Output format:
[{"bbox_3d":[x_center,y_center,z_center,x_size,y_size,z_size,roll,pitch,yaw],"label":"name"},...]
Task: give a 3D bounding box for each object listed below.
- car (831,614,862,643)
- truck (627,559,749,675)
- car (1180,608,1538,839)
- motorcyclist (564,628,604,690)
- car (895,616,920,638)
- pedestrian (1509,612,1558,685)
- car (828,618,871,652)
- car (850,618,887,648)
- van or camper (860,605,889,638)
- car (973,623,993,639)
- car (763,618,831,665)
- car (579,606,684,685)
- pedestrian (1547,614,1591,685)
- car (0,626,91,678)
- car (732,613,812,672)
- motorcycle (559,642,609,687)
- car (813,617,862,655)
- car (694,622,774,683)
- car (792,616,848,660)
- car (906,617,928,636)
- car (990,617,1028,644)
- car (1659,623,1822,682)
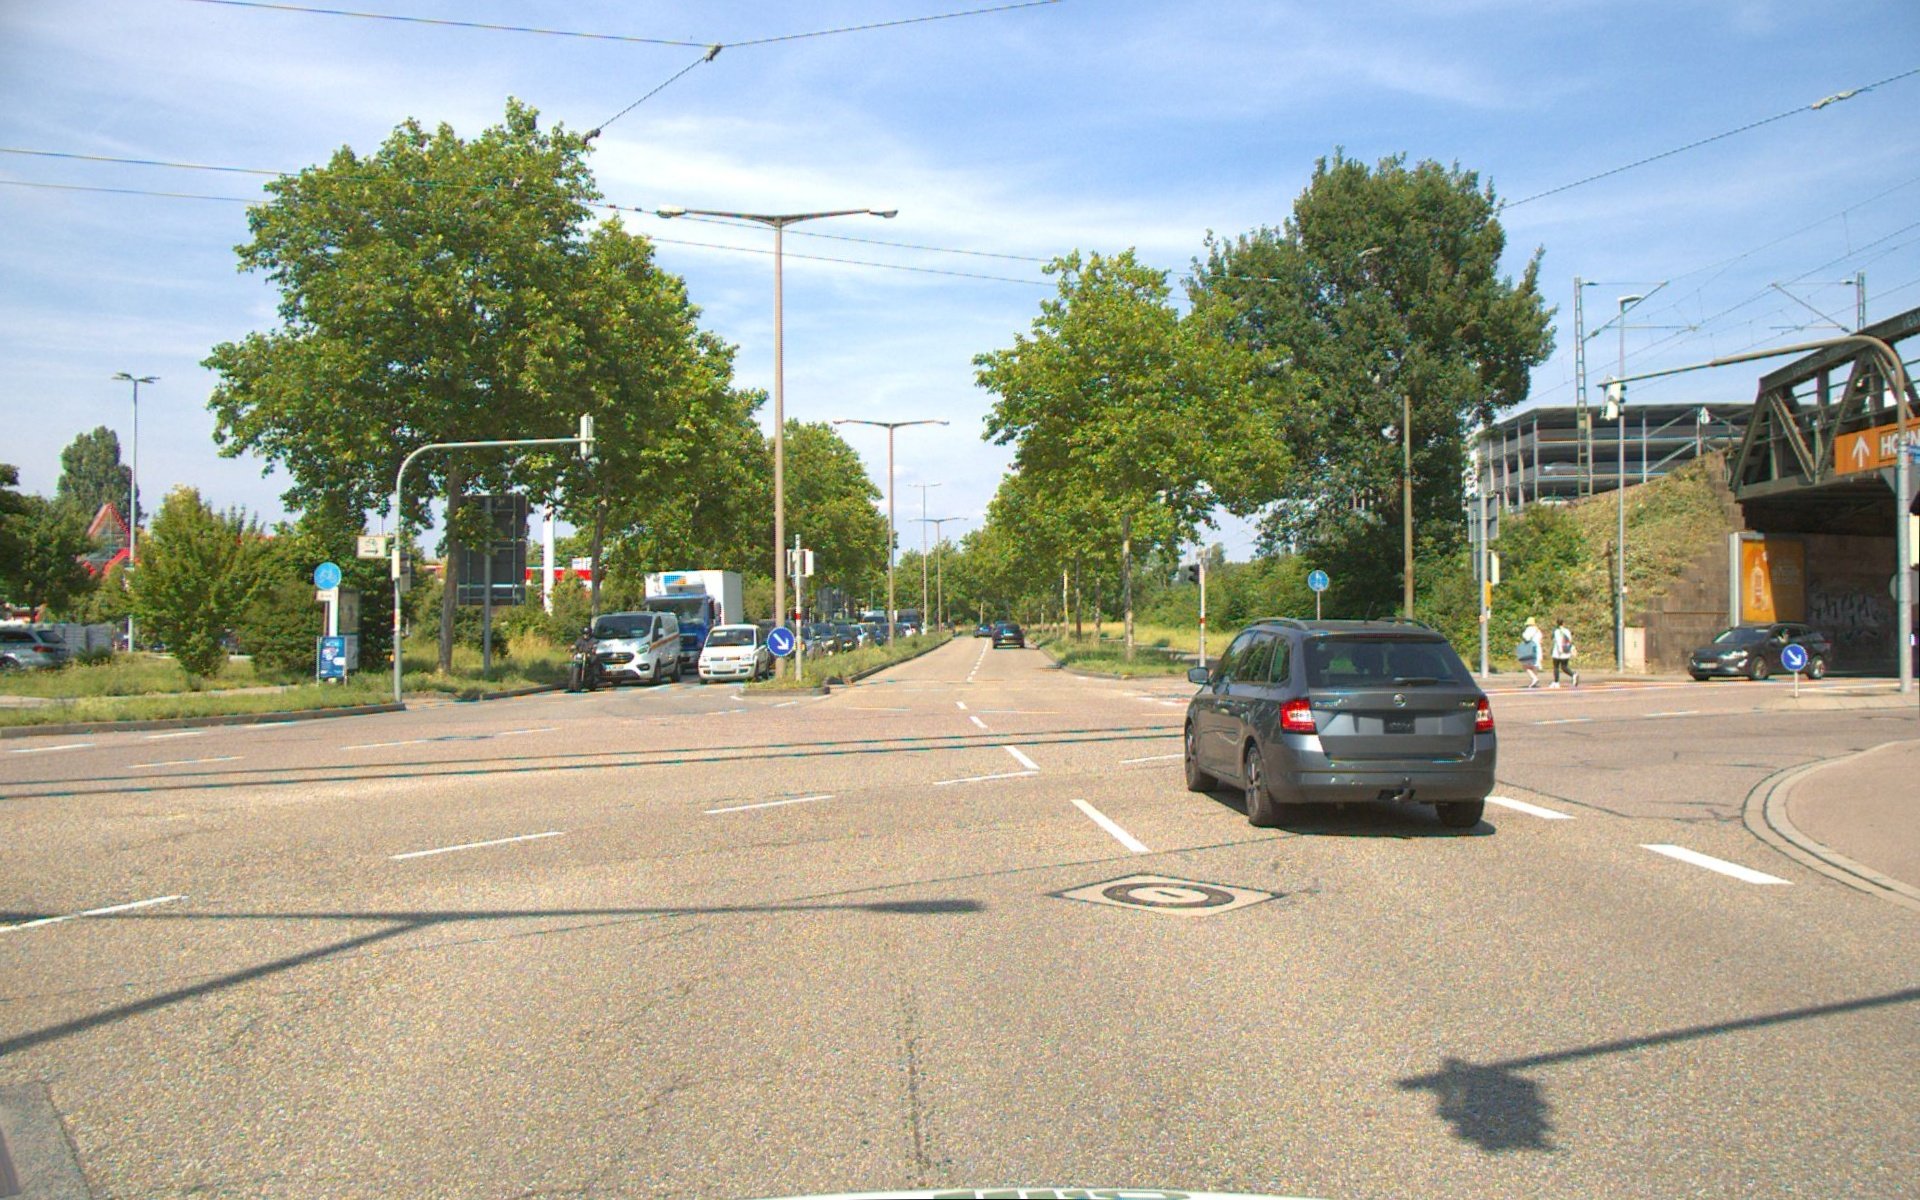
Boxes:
[{"bbox_3d":[-7.611,1.922,110.867,1.654,1.891,4.037,-1,-1,1],"label":"car"},{"bbox_3d":[-8.983,0.537,55.362,2.746,3.532,6.692,-2,0,1],"label":"truck"},{"bbox_3d":[2.870,0.816,12.767,1.640,1.479,4.034,1,0,-2],"label":"car"},{"bbox_3d":[-9.178,1.434,40.393,0.728,1.496,0.987,0,-1,1],"label":"motorcyclist"},{"bbox_3d":[-3.893,2.016,123.716,1.654,1.537,3.815,-1,0,1],"label":"car"},{"bbox_3d":[13.164,1.104,37.979,0.850,1.640,0.777,0,-1,1],"label":"pedestrian"},{"bbox_3d":[-5.119,1.623,76.939,1.654,1.497,3.815,-1,0,1],"label":"car"},{"bbox_3d":[-4.919,1.760,89.634,1.748,1.515,4.211,-1,0,0],"label":"car"},{"bbox_3d":[-7.112,1.785,138.081,1.973,2.633,5.517,-1,0,1],"label":"van or camper"},{"bbox_3d":[2.337,3.168,167.912,1.869,1.489,4.580,0,0,-2],"label":"car"},{"bbox_3d":[-5.620,1.414,57.379,1.759,1.493,4.523,-1,0,2],"label":"car"},{"bbox_3d":[-8.930,1.199,45.358,1.936,2.034,5.030,0,0,-1],"label":"car"},{"bbox_3d":[13.965,1.125,37.942,0.714,1.607,0.777,0,-1,1],"label":"pedestrian"},{"bbox_3d":[-27.642,1.473,47.237,4.474,1.439,2.198,0,-1,-6],"label":"car"},{"bbox_3d":[-5.678,1.286,50.493,1.782,1.675,4.694,-1,-2,1],"label":"car"},{"bbox_3d":[-9.148,1.555,40.297,0.673,1.009,2.217,0,0,1],"label":"motorcycle"},{"bbox_3d":[-5.261,1.535,71.304,1.654,1.499,4.218,-2,0,1],"label":"car"},{"bbox_3d":[-6.052,1.383,44.627,1.560,1.503,3.730,-1,0,1],"label":"car"},{"bbox_3d":[-5.370,1.439,63.934,1.654,1.614,4.240,-1,0,1],"label":"car"},{"bbox_3d":[-3.659,2.255,140.321,1.654,1.557,3.815,-1,-1,1],"label":"car"},{"bbox_3d":[2.749,1.717,94.253,1.869,1.489,4.619,0,0,-2],"label":"car"},{"bbox_3d":[20.563,1.340,43.544,4.449,1.433,1.975,0,-1,-35],"label":"car"}]
